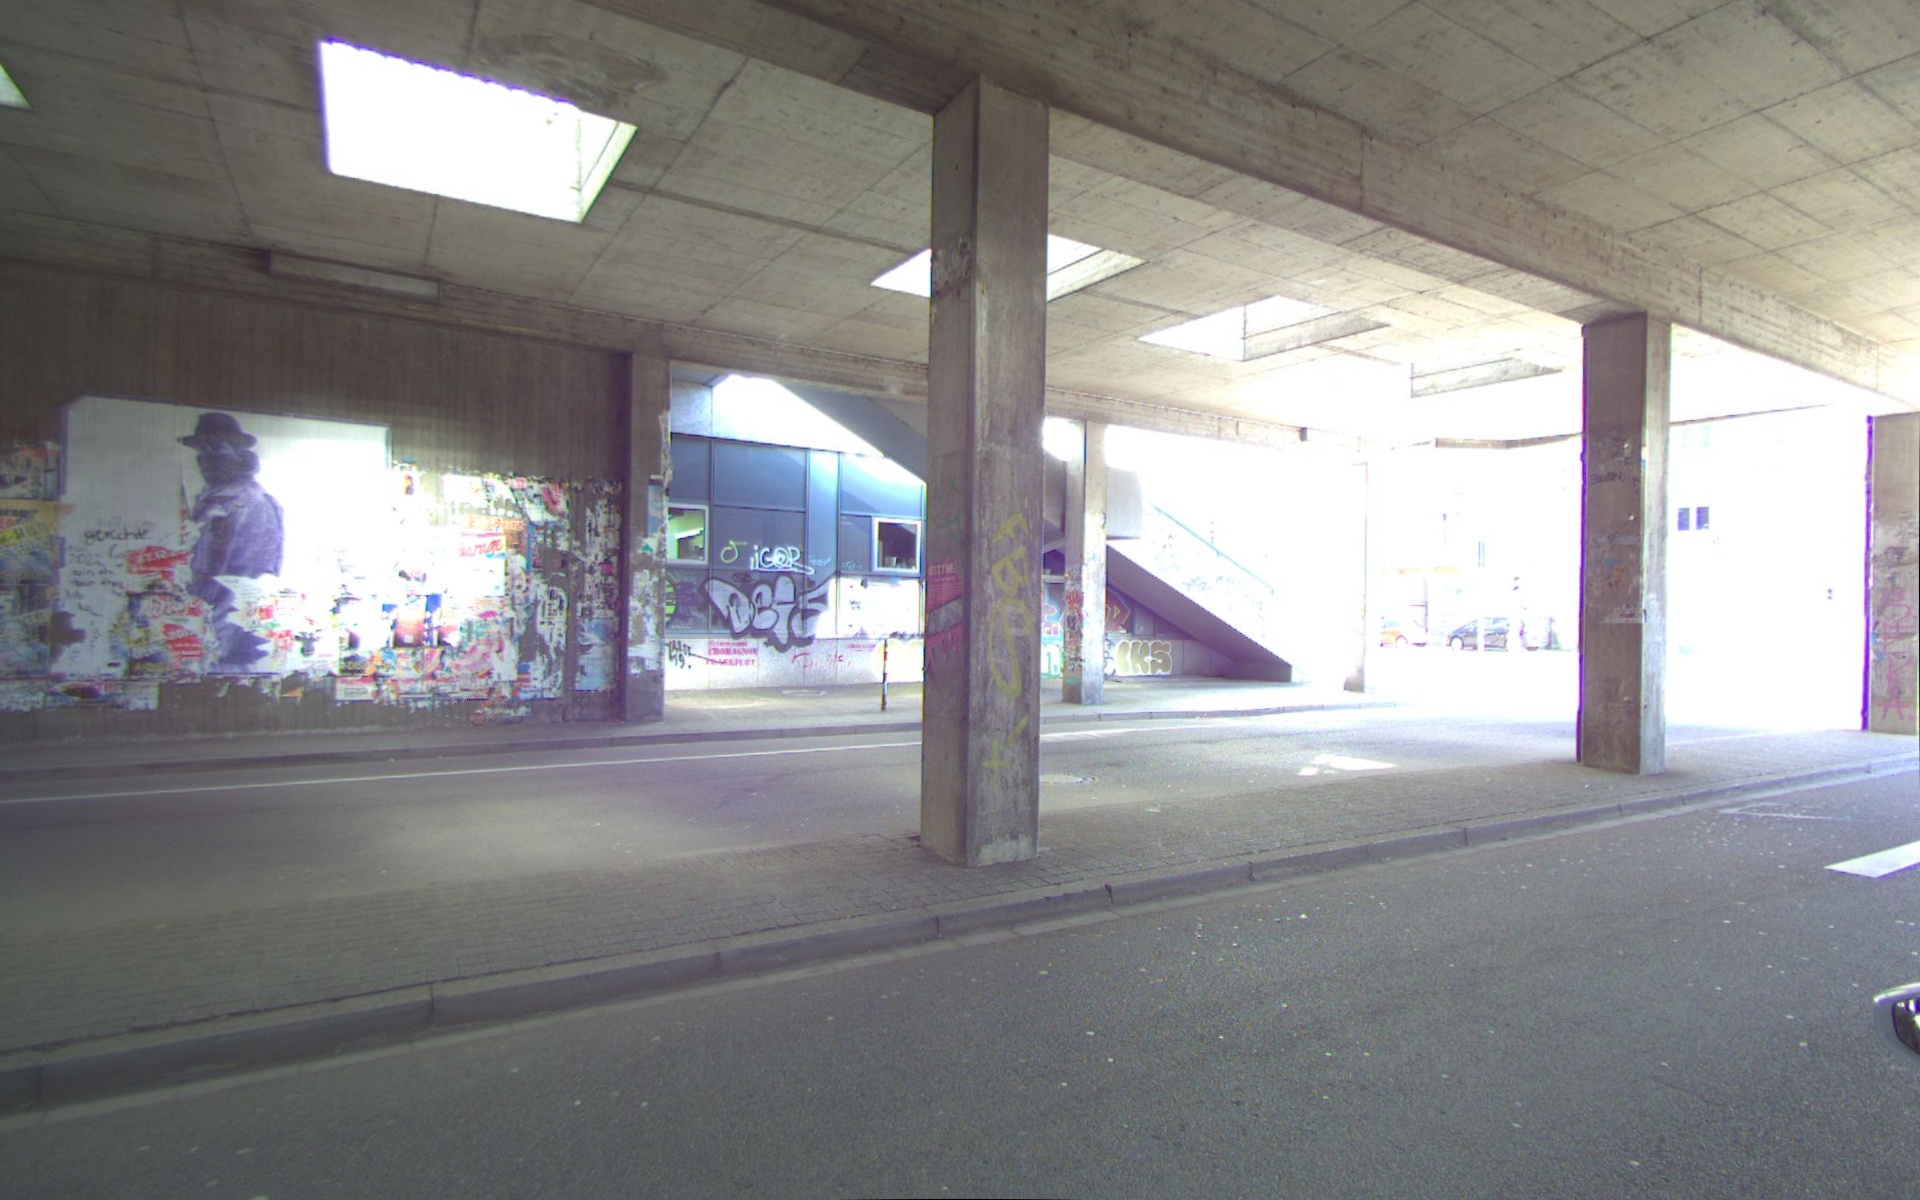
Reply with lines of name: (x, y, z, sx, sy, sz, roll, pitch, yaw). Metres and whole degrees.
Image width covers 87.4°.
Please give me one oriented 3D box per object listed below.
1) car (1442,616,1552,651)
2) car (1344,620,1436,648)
car: (25.407, 1.576, 47.650, 2.240, 1.571, 4.111, 1, -1, -29)
car: (22.486, 1.765, 52.662, 2.163, 1.392, 3.971, 1, -1, -28)
